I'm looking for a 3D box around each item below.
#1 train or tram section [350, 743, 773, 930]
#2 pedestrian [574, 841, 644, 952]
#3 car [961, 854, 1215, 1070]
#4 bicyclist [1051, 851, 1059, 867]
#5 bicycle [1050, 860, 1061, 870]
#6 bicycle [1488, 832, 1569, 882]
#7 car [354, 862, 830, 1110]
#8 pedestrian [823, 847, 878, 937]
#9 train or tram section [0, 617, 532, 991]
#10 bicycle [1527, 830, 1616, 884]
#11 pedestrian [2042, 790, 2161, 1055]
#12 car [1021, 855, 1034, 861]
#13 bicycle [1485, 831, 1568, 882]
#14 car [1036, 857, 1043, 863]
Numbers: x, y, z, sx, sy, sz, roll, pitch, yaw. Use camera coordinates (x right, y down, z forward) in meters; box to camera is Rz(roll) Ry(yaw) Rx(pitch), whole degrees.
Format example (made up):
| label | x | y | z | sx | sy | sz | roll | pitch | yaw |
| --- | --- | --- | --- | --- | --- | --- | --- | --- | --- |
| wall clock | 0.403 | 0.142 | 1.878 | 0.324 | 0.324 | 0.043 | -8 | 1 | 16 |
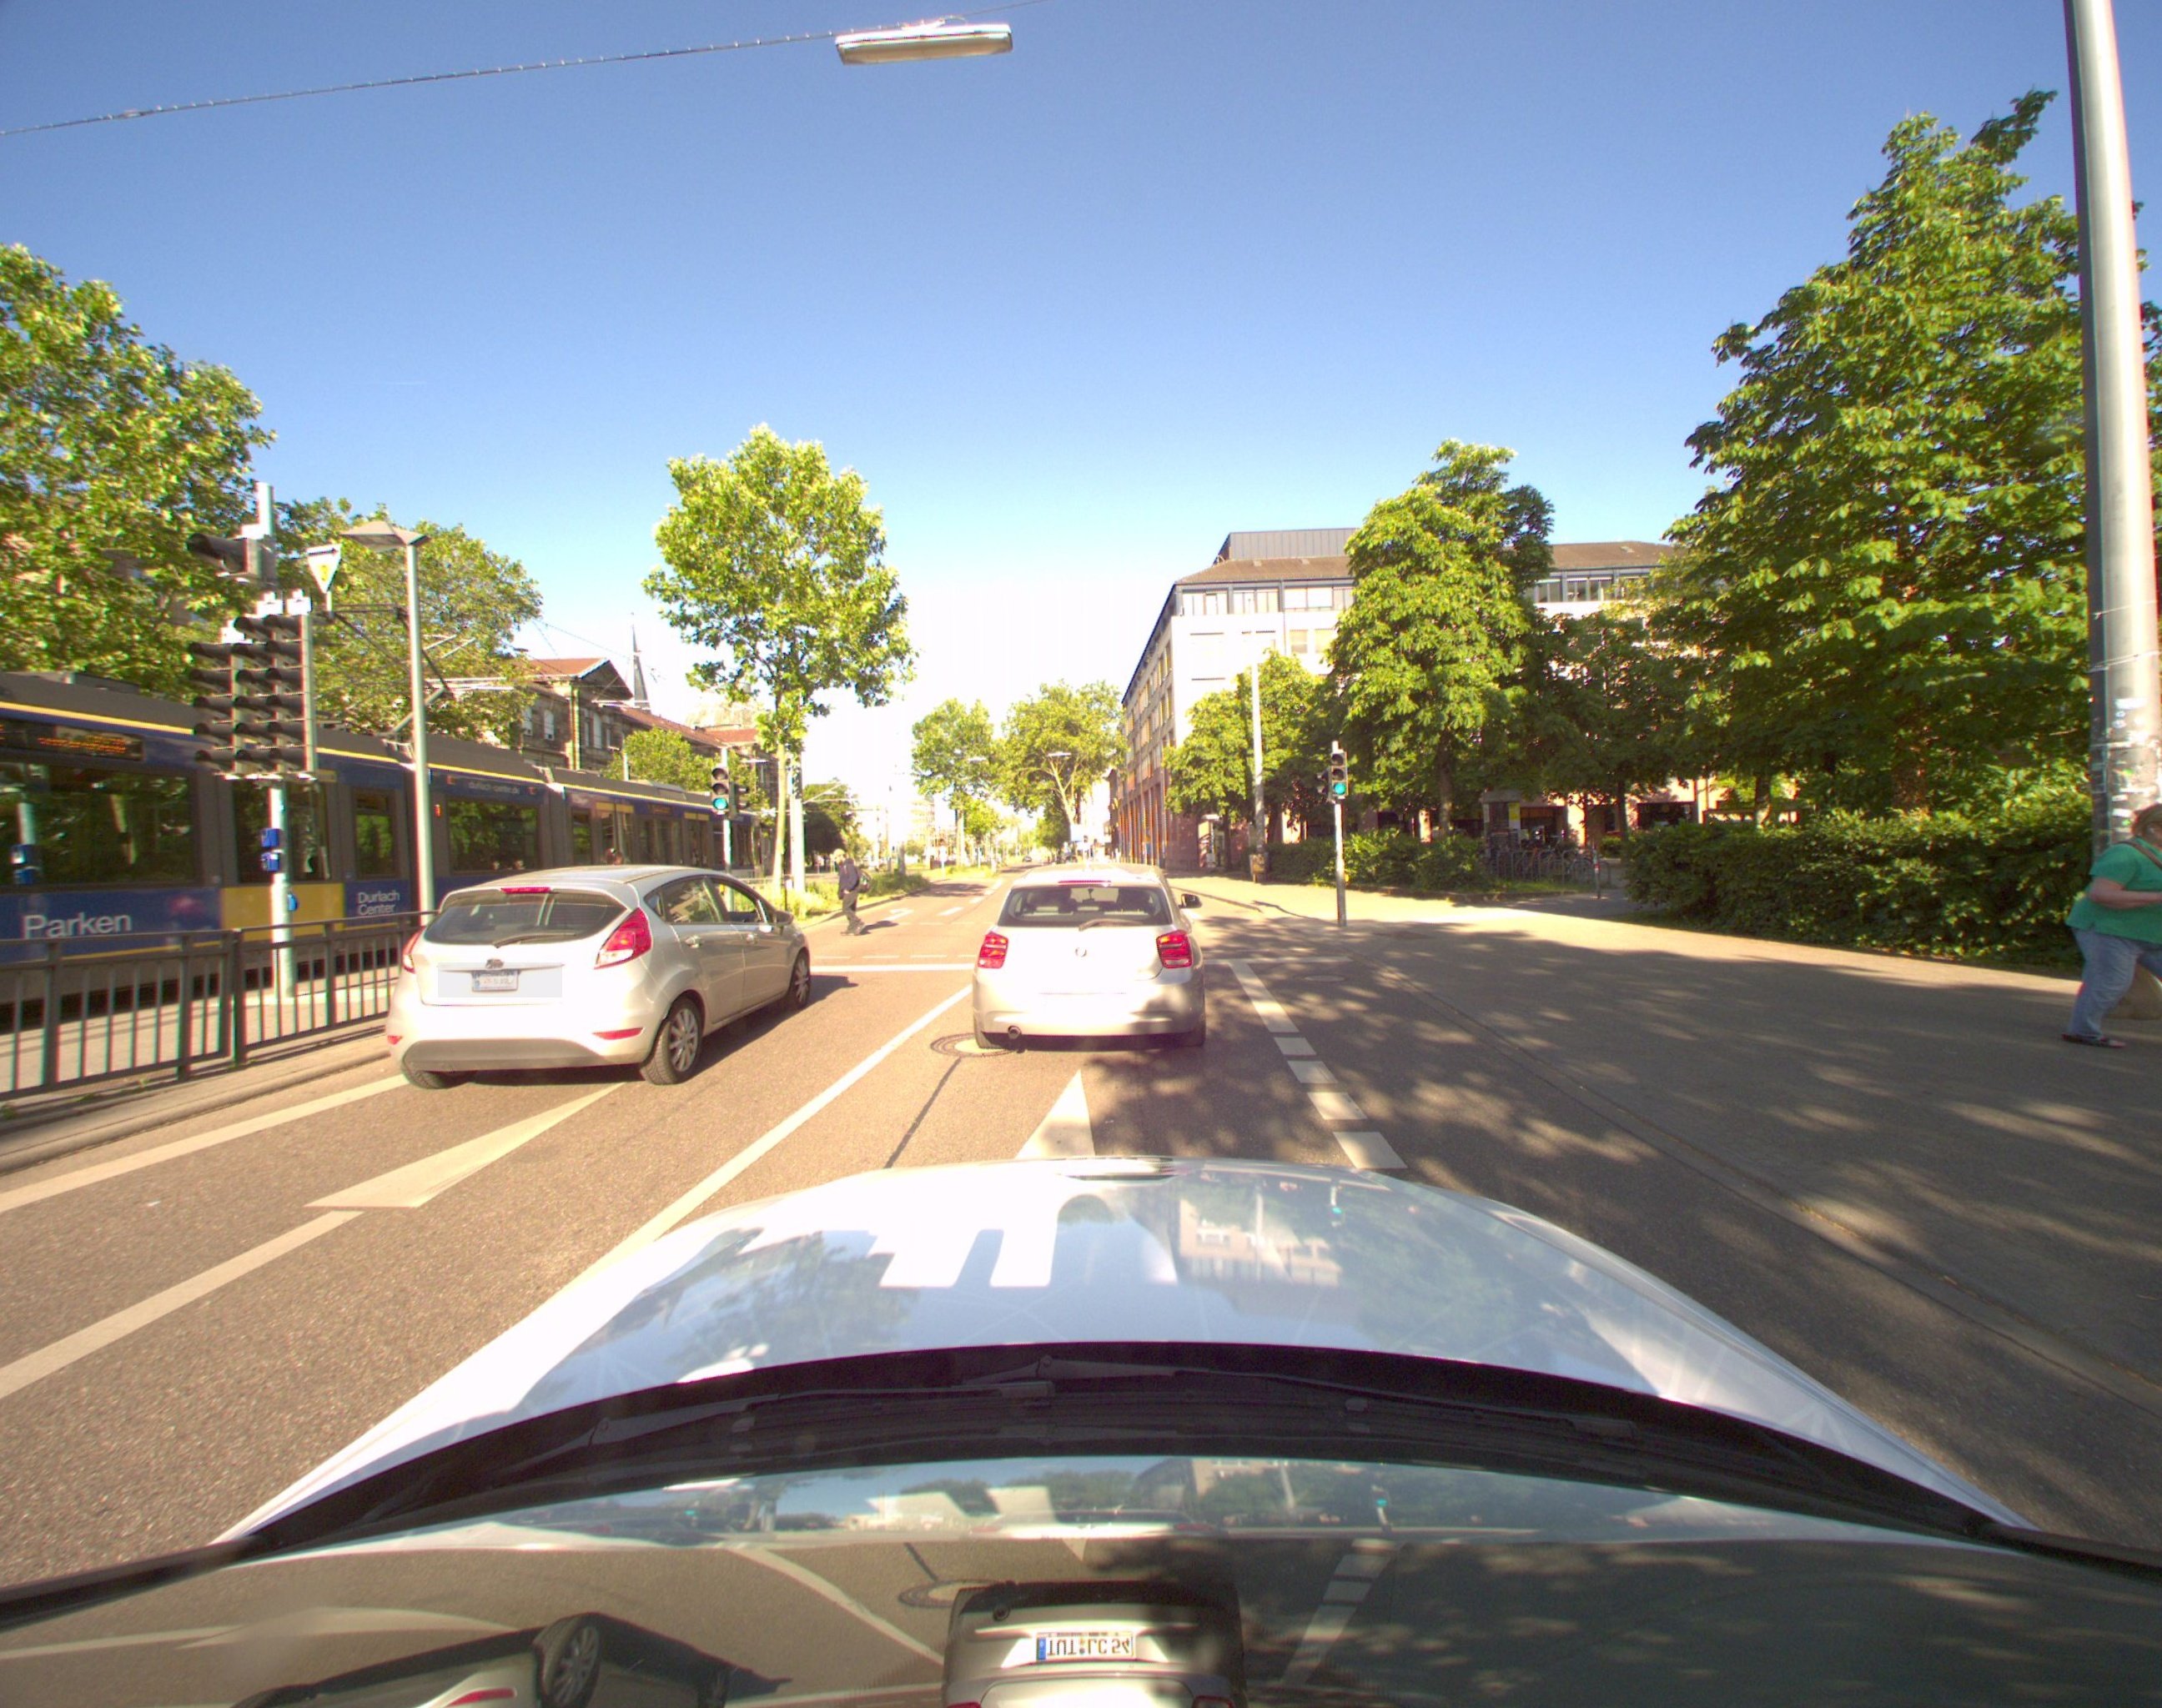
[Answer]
| label | x | y | z | sx | sy | sz | roll | pitch | yaw |
| --- | --- | --- | --- | --- | --- | --- | --- | --- | --- |
| train or tram section | -11.558 | -0.196 | 20.841 | 2.907 | 3.260 | 13.099 | 0 | -1 | -3 |
| pedestrian | -6.923 | 0.610 | 11.978 | 0.630 | 1.557 | 0.645 | -2 | 0 | -7 |
| car | 0.213 | 0.735 | 7.453 | 1.722 | 1.390 | 3.845 | 0 | 1 | 5 |
| bicyclist | -2.738 | 0.561 | 86.612 | 0.655 | 1.657 | 0.766 | -3 | 0 | 6 |
| bicycle | -2.724 | 1.148 | 86.589 | 0.827 | 1.041 | 1.878 | -3 | 0 | 7 |
| bicycle | 13.065 | 0.078 | 23.821 | 1.989 | 1.314 | 0.574 | -3 | 0 | 0 |
| car | -3.412 | 0.786 | 6.574 | 1.655 | 1.409 | 3.631 | -1 | 0 | -1 |
| pedestrian | -4.330 | 0.699 | 15.326 | 0.943 | 1.629 | 0.625 | -1 | 0 | -16 |
| train or tram section | -10.855 | -0.446 | 6.446 | 2.908 | 3.260 | 15.875 | 0 | -1 | -3 |
| bicycle | 13.172 | 0.076 | 21.906 | 1.989 | 1.314 | 0.574 | -3 | 0 | 0 |
| pedestrian | 6.692 | 0.398 | 5.087 | 0.743 | 1.575 | 0.822 | -2 | -1 | -41 |
| car | -14.006 | 0.989 | 211.344 | 2.004 | 1.486 | 3.967 | -2 | 0 | -25 |
| bicycle | 12.674 | 0.066 | 23.206 | 1.989 | 1.314 | 0.574 | -3 | 0 | 0 |
| car | -12.549 | 1.846 | 246.775 | 1.986 | 2.014 | 4.002 | 0 | -1 | 2 |
